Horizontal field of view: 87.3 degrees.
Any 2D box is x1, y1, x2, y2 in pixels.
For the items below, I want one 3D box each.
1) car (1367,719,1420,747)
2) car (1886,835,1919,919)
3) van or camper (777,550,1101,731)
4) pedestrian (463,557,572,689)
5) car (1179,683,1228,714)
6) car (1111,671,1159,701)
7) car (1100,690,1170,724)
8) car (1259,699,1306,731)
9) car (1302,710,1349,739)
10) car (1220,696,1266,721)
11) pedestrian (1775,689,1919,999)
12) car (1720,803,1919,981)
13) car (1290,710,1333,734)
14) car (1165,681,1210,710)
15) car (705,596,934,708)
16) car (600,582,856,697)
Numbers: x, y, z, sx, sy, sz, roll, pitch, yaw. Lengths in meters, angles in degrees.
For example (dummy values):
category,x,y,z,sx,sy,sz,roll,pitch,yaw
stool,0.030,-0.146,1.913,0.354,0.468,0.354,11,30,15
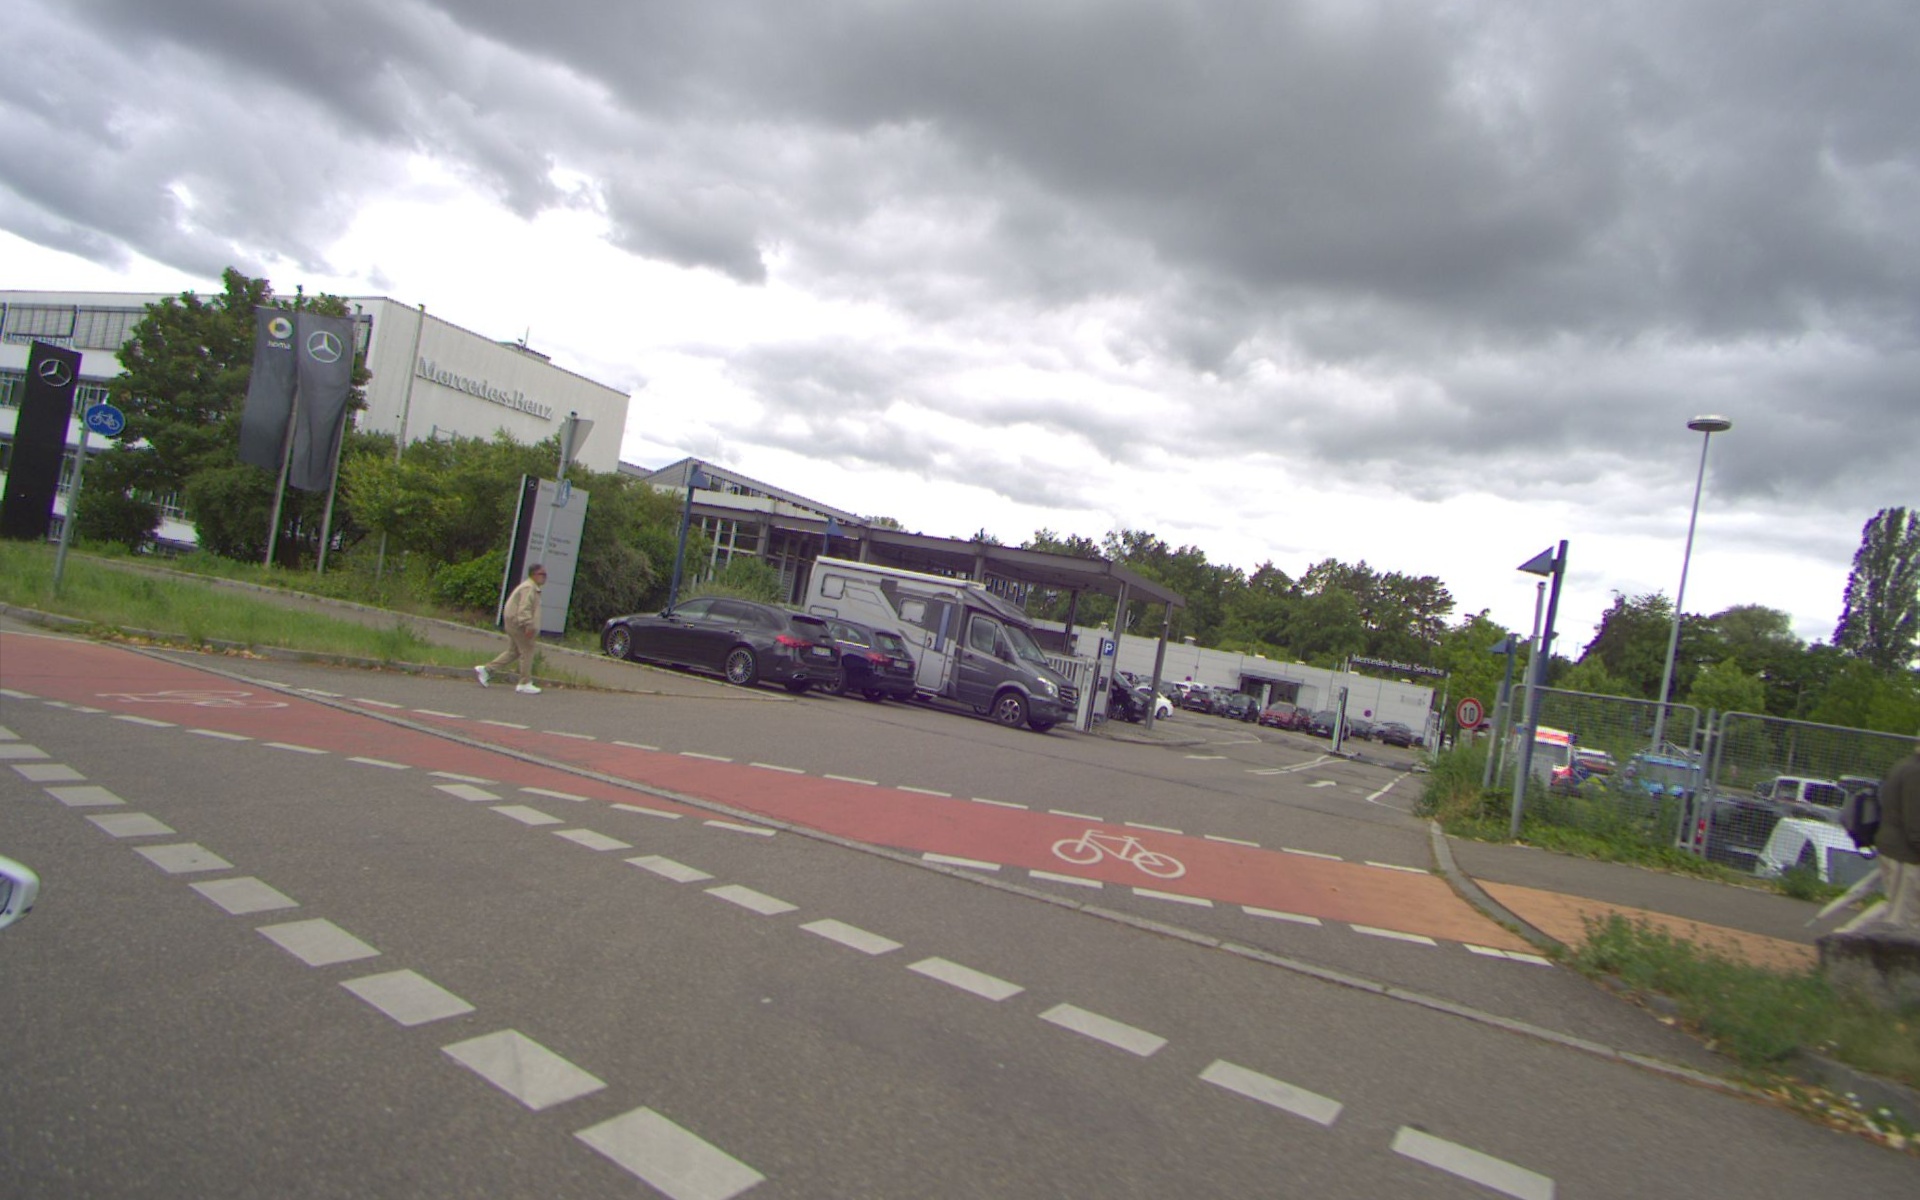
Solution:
category,x,y,z,sx,sy,sz,roll,pitch,yaw
car,34.649,10.612,80.445,3.588,1.590,1.623,7,-2,28
car,20.694,5.895,20.062,1.964,1.569,4.002,8,-3,25
van or camper,-0.586,0.818,22.335,6.799,2.901,1.971,8,-1,29
pedestrian,-5.444,0.297,12.425,0.735,1.480,0.792,8,-1,11
car,15.058,6.082,62.076,1.597,1.545,3.646,7,-3,34
car,11.377,5.589,65.216,1.597,1.545,3.646,7,-3,34
car,6.545,3.990,37.313,1.388,0.989,3.651,7,-3,29
car,19.146,6.818,59.632,1.597,1.560,3.646,7,-3,34
car,21.393,7.279,58.822,1.597,1.349,3.646,7,-3,34
car,17.349,6.652,61.558,1.597,1.169,3.646,7,-3,34
pedestrian,6.168,1.576,6.615,0.740,1.822,0.857,8,-1,-26
car,12.164,3.934,13.926,1.661,1.636,3.748,8,-3,25
car,22.399,7.786,64.068,1.597,1.169,3.646,7,-3,34
car,15.443,6.482,68.193,1.597,1.545,3.646,7,-3,34
car,-2.871,1.036,20.325,4.270,1.524,1.717,7,-4,30
car,-4.154,0.674,17.811,4.270,1.369,1.715,7,-2,30
